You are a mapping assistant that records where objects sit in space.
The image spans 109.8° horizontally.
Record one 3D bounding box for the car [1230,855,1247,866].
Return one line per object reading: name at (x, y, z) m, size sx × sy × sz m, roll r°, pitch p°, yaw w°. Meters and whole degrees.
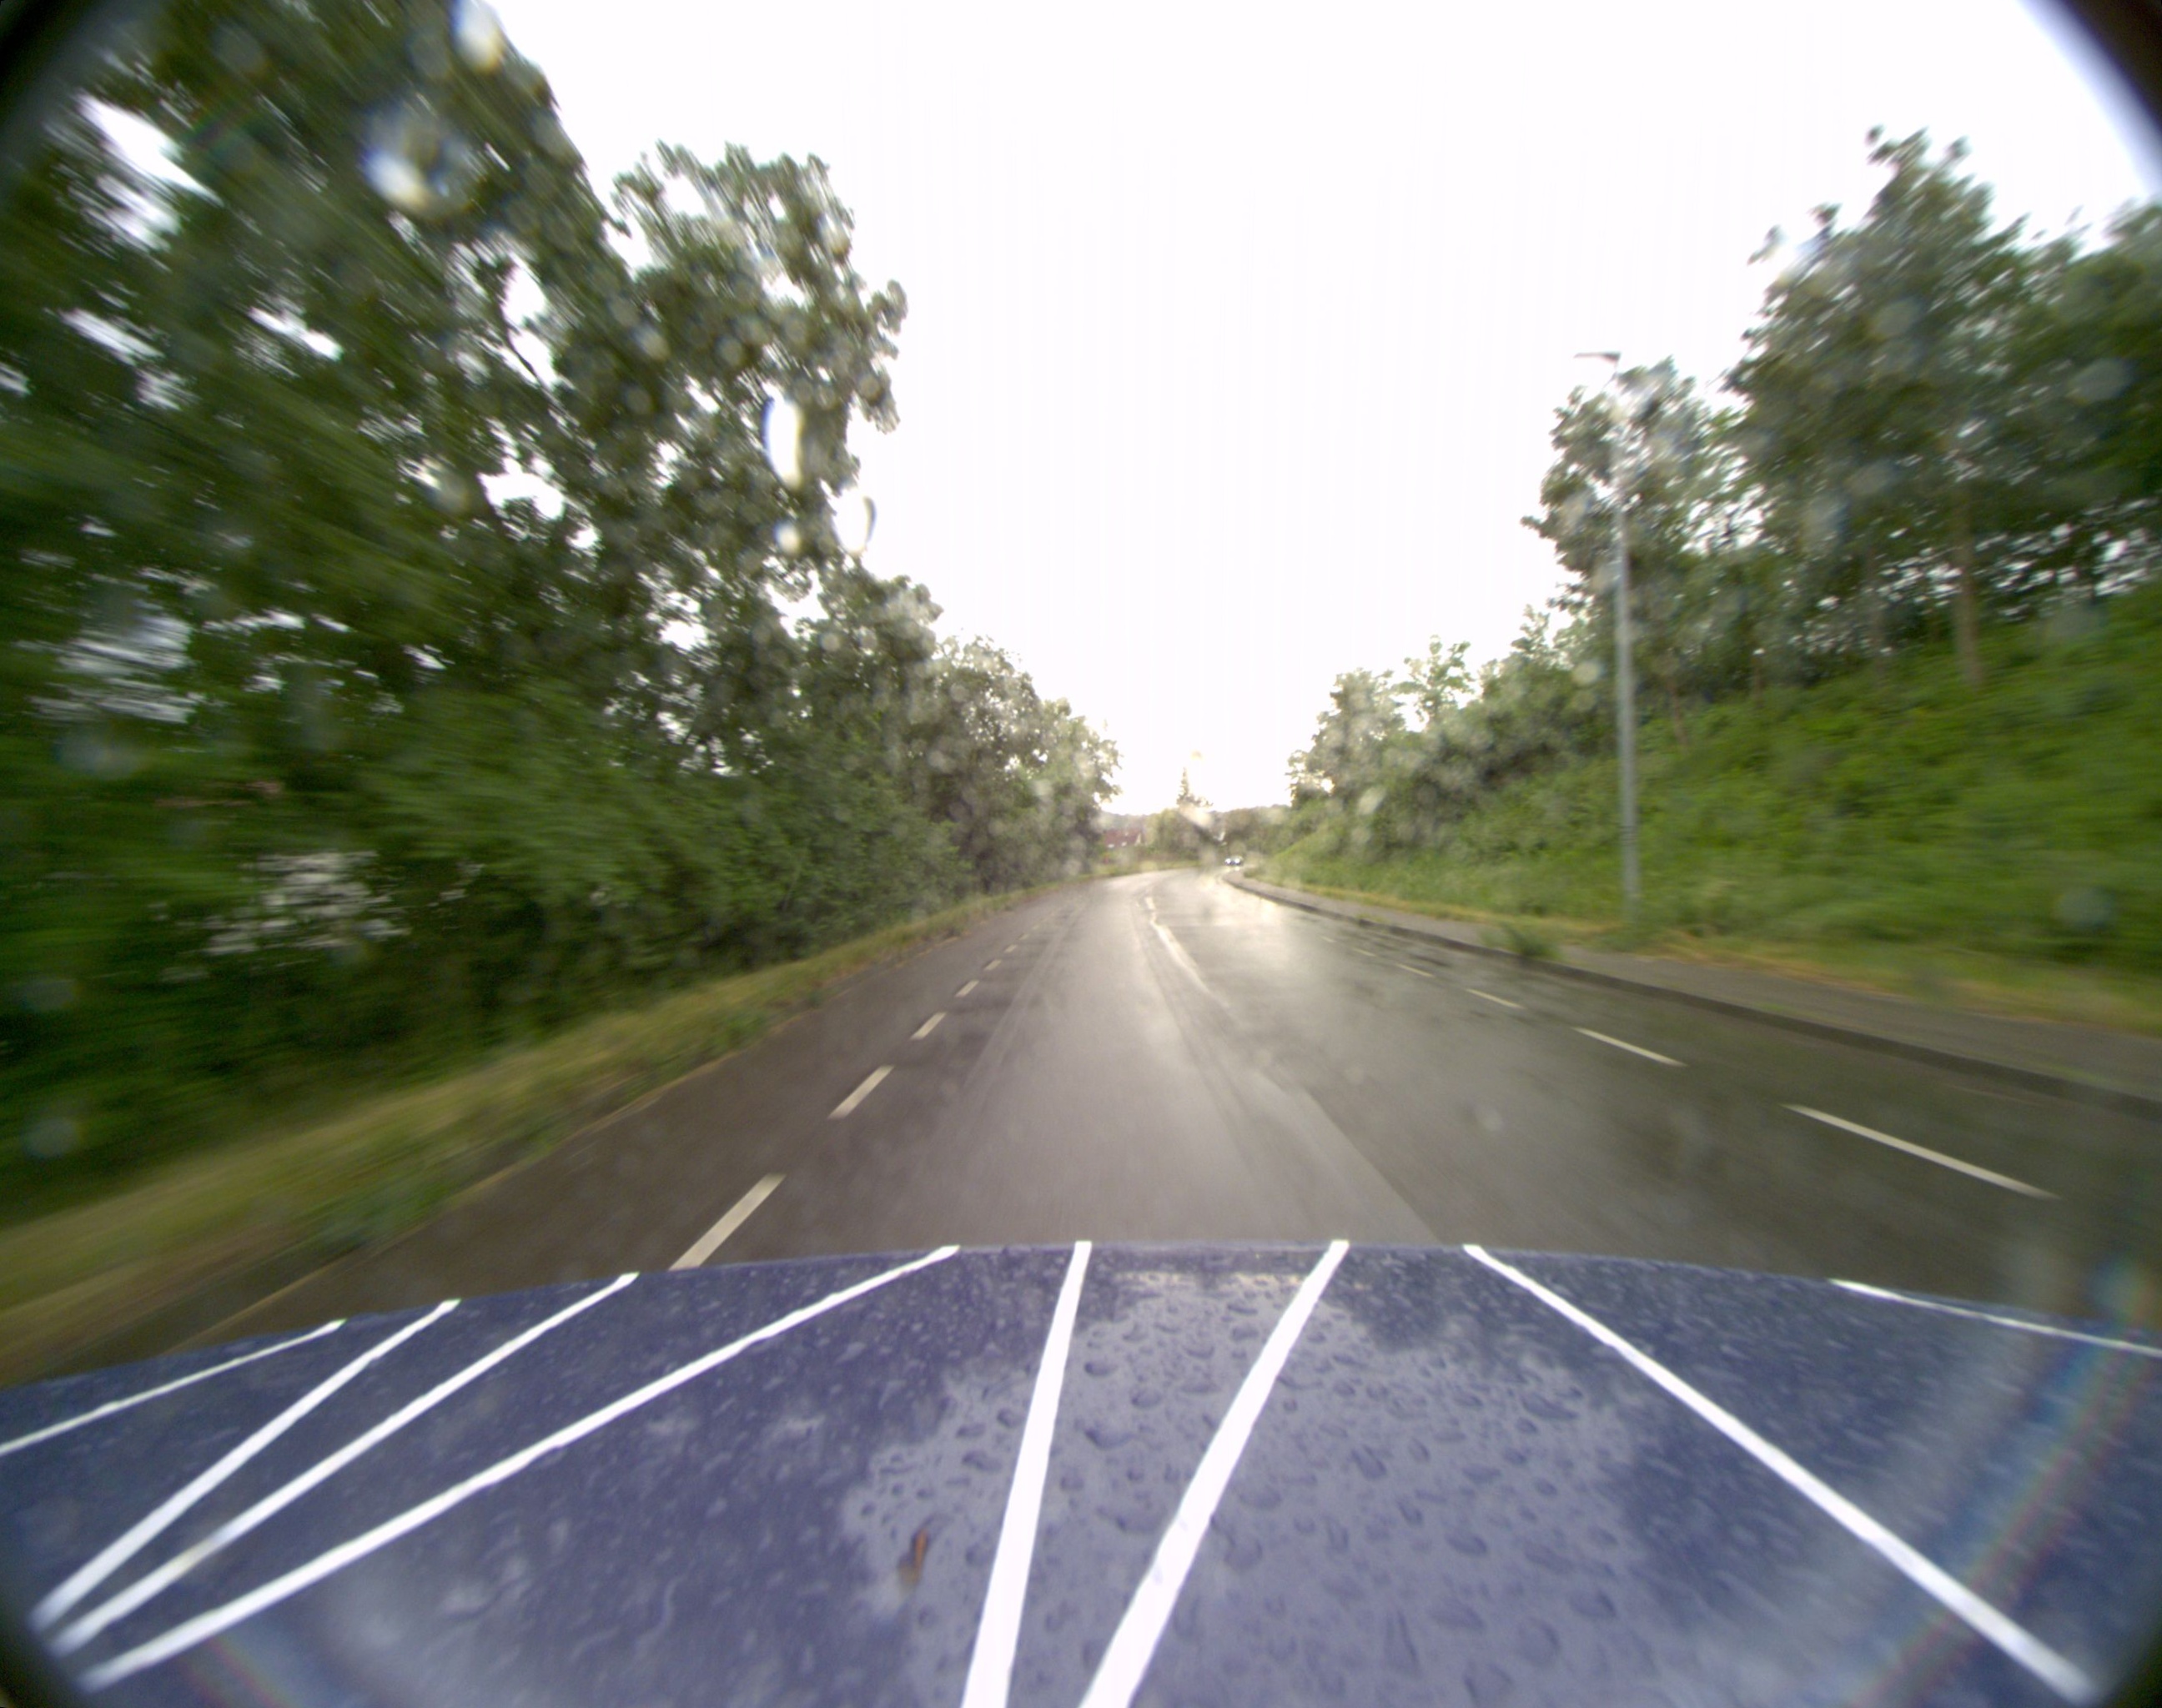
car at (23.760, 0.927, 114.476) m, size 1.876 × 1.596 × 4.006 m, roll 0°, pitch 0°, yaw 22°
